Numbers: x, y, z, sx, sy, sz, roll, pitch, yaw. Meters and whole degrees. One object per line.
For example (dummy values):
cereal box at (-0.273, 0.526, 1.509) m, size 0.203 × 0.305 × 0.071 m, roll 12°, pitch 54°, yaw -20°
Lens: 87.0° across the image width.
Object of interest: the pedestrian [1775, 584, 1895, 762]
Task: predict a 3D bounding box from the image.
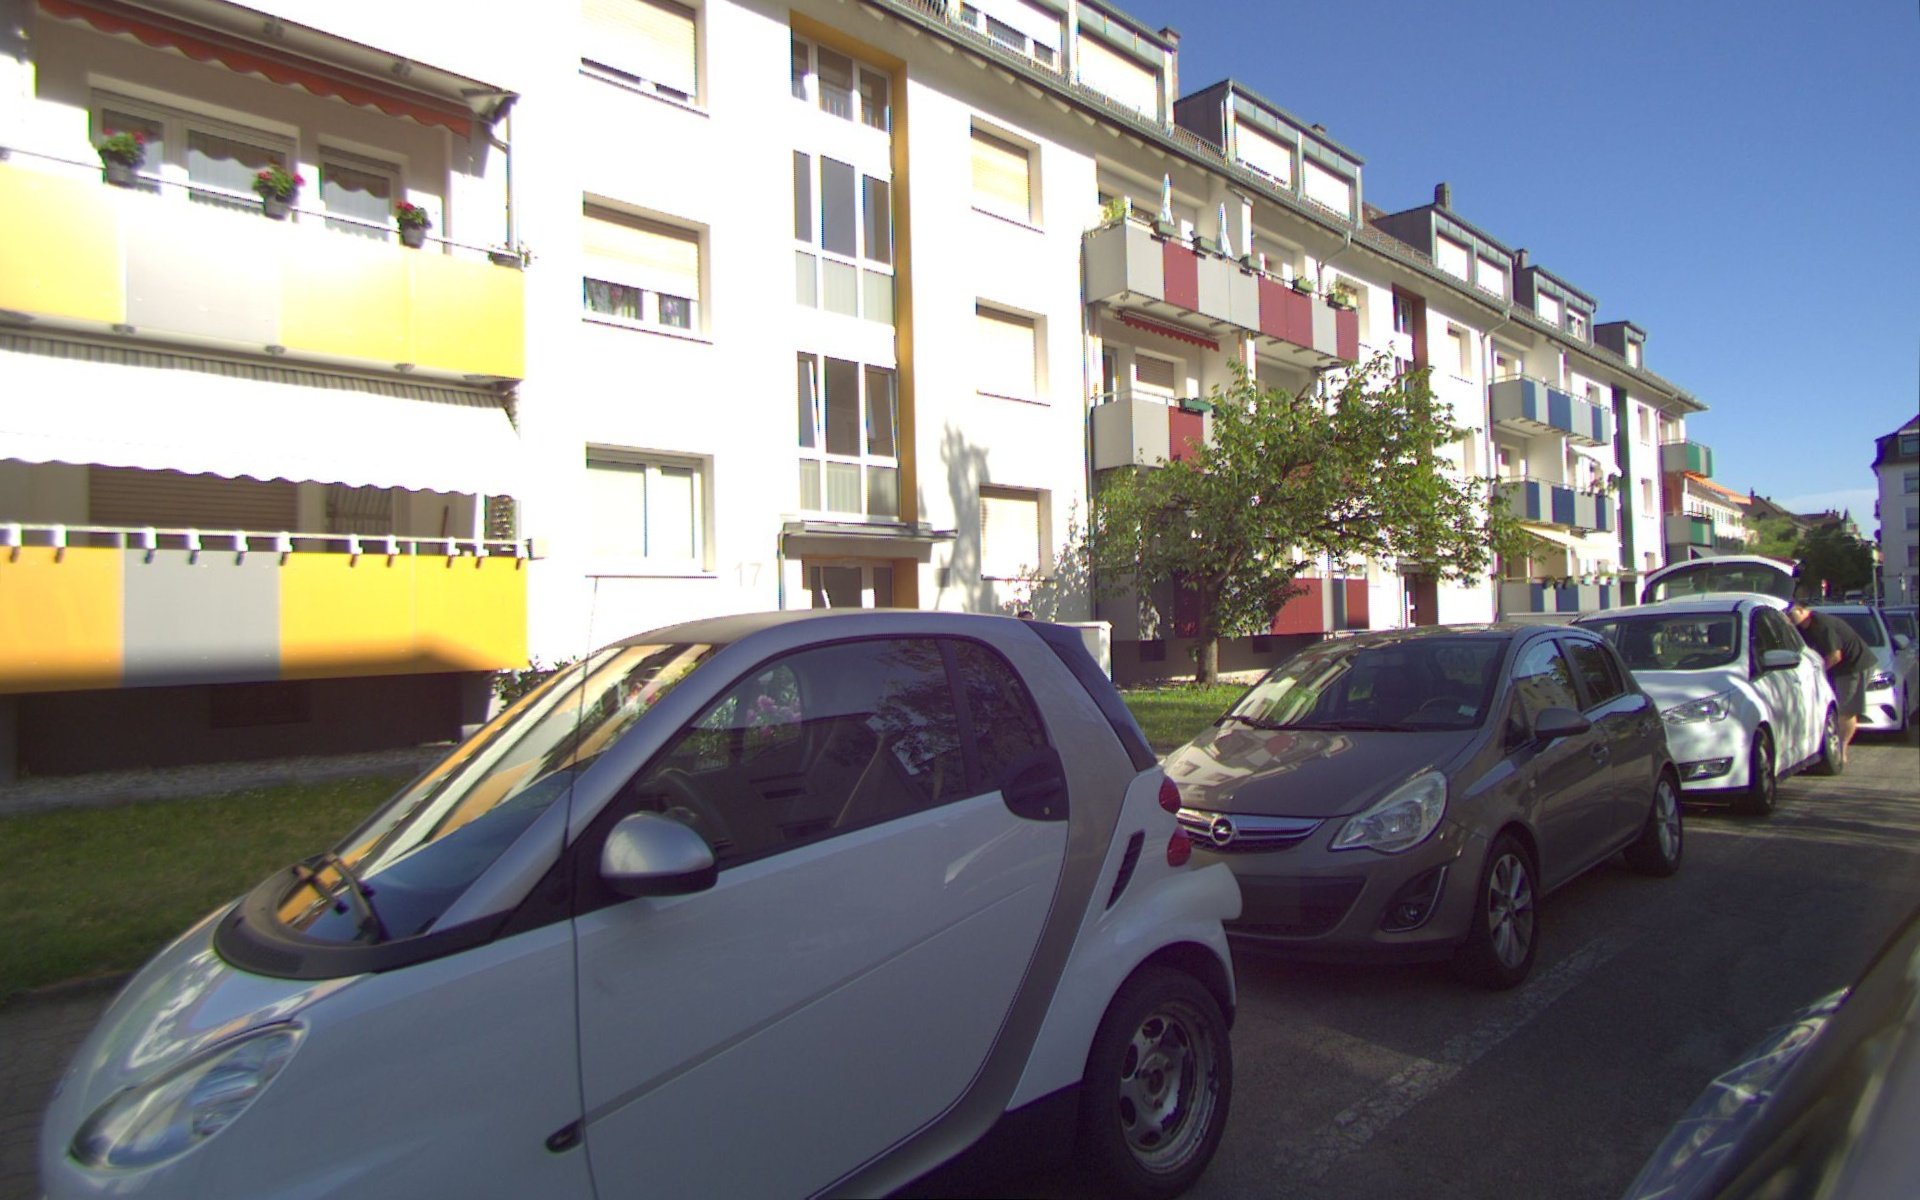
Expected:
pedestrian at (8.372, 0.659, 9.682) m, size 0.864 × 1.595 × 0.740 m, roll 0°, pitch -1°, yaw -41°

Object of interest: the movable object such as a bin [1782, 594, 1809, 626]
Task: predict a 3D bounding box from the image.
movable object such as a bin at (38.943, 0.475, 47.162) m, size 0.864 × 1.466 × 0.907 m, roll -2°, pitch -1°, yaw 45°

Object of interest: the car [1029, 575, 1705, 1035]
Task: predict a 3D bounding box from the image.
car at (2.354, 0.718, 5.311) m, size 3.916 × 1.511 × 1.695 m, roll 0°, pitch -4°, yaw -42°

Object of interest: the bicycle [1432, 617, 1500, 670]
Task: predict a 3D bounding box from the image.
bicycle at (11.025, 0.914, 22.020) m, size 2.248 × 1.062 × 0.521 m, roll 0°, pitch 0°, yaw -41°

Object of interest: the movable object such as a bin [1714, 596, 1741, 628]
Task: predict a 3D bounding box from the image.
movable object such as a bin at (37.234, 0.562, 49.117) m, size 0.906 × 1.539 × 0.864 m, roll 0°, pitch -1°, yaw -43°

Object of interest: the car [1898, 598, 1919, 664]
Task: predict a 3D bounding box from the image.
car at (24.250, 0.676, 24.577) m, size 3.788 × 1.529 × 1.714 m, roll 0°, pitch -5°, yaw -42°

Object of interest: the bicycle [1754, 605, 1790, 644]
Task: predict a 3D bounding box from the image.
bicycle at (25.353, 0.749, 31.590) m, size 1.841 × 1.147 × 0.578 m, roll 0°, pitch 0°, yaw -42°

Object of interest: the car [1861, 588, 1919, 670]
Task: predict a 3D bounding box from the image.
car at (20.311, 0.559, 21.168) m, size 4.278 × 1.598 × 1.725 m, roll 0°, pitch -1°, yaw -42°

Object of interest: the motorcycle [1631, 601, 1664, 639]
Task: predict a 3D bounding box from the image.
motorcycle at (23.324, 0.673, 34.334) m, size 1.942 × 1.254 × 0.441 m, roll 0°, pitch -1°, yaw -42°

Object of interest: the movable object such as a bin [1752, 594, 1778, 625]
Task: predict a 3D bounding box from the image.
movable object such as a bin at (38.111, 0.451, 47.907) m, size 0.864 × 1.466 × 0.907 m, roll -2°, pitch -1°, yaw 45°

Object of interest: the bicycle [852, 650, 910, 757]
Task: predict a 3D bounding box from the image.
bicycle at (-0.841, 1.077, 10.743) m, size 0.234 × 1.060 × 0.742 m, roll 0°, pitch -1°, yaw -38°

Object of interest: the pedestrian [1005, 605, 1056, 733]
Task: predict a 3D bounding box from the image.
pedestrian at (0.860, 0.822, 12.310) m, size 0.354 × 1.514 × 0.451 m, roll -2°, pitch 0°, yaw -40°

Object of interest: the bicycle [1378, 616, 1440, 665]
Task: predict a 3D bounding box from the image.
bicycle at (10.265, 0.902, 23.107) m, size 1.940 × 1.050 × 0.521 m, roll 0°, pitch -1°, yaw -41°

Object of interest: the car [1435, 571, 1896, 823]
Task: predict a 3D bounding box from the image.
car at (6.386, 0.674, 8.922) m, size 4.905 × 1.634 × 1.997 m, roll 0°, pitch -3°, yaw -39°

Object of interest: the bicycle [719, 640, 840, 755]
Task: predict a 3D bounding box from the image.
bicycle at (-1.950, 1.028, 10.999) m, size 1.250 × 1.147 × 0.403 m, roll 0°, pitch -2°, yaw -41°

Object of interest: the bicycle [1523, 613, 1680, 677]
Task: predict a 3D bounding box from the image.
bicycle at (12.432, 0.842, 19.708) m, size 0.862 × 1.144 × 2.431 m, roll 0°, pitch -1°, yaw -35°

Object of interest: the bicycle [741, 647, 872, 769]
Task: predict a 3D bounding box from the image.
bicycle at (-1.526, 1.046, 10.170) m, size 1.276 × 1.100 × 0.404 m, roll 0°, pitch -1°, yaw -41°

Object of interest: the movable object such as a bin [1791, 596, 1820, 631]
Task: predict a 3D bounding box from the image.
movable object such as a bin at (36.571, 0.588, 43.766) m, size 0.864 × 1.466 × 0.907 m, roll -2°, pitch -1°, yaw 45°

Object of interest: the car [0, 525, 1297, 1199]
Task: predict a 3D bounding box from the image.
car at (-0.657, 0.713, 2.651) m, size 2.886 × 1.549 × 1.483 m, roll 0°, pitch -4°, yaw -37°

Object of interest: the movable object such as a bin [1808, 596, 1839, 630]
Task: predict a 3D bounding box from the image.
movable object such as a bin at (37.861, 0.563, 44.390) m, size 0.852 × 1.466 × 0.920 m, roll 0°, pitch -2°, yaw -43°

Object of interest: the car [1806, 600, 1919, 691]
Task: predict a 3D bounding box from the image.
car at (16.775, 0.758, 18.134) m, size 3.987 × 1.468 × 1.649 m, roll -1°, pitch -3°, yaw -39°

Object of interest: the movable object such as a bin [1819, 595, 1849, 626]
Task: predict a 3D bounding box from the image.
movable object such as a bin at (39.700, 0.480, 45.975) m, size 0.852 × 1.416 × 0.920 m, roll 0°, pitch -2°, yaw -43°

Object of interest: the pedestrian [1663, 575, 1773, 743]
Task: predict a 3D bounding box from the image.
pedestrian at (8.047, 0.599, 10.752) m, size 0.594 × 1.709 × 0.820 m, roll 0°, pitch -1°, yaw -41°

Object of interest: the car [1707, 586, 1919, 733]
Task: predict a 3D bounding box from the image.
car at (10.951, 0.642, 12.657) m, size 4.405 × 1.524 × 1.773 m, roll 0°, pitch -3°, yaw -43°
